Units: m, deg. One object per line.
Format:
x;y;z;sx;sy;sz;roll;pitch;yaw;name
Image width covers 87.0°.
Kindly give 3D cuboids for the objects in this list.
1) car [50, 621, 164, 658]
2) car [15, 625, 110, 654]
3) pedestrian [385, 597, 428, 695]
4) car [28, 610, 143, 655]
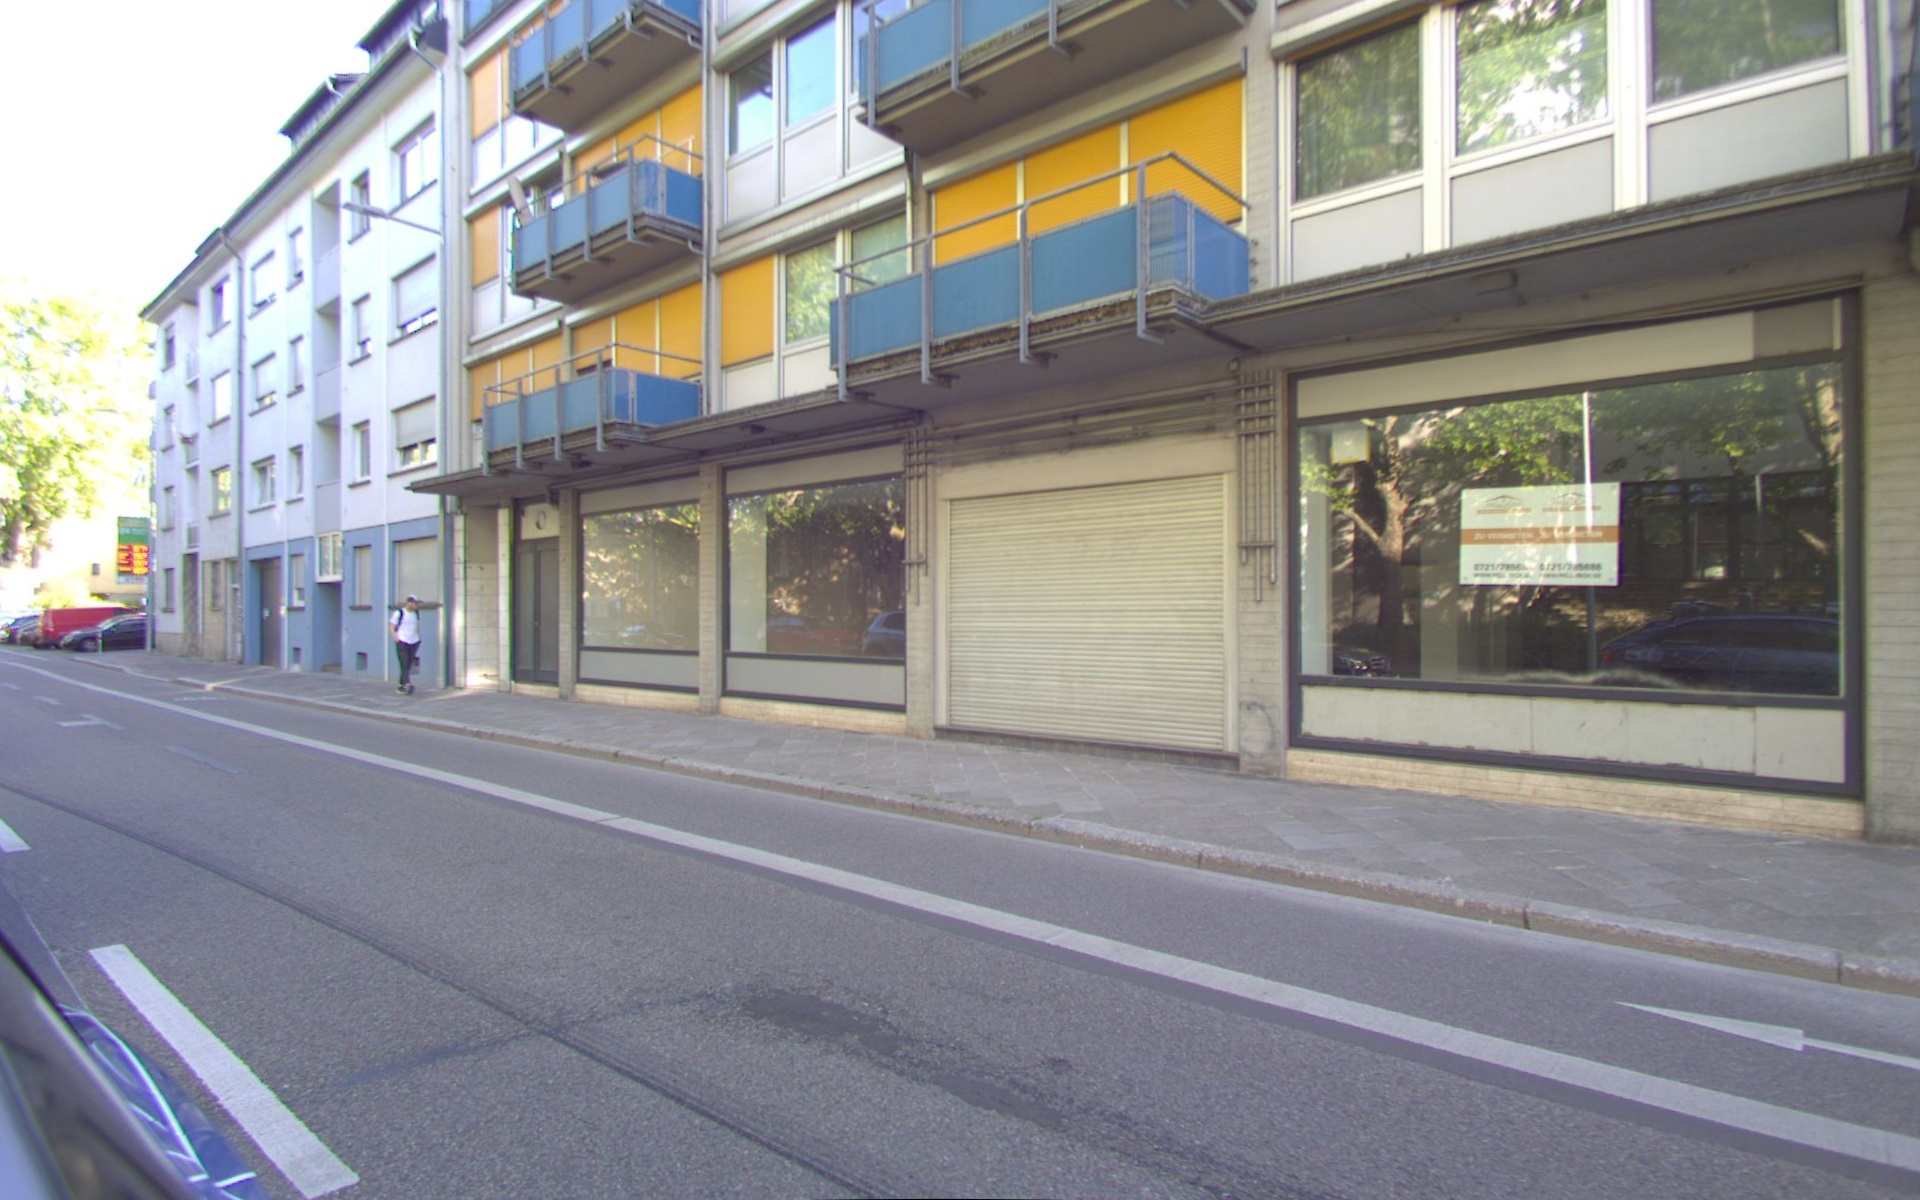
-37.316;1.685;44.331;1.635;1.422;3.623;-1;0;41;car
-43.623;1.901;49.232;1.294;1.258;3.283;-1;0;41;car
-10.042;0.822;18.360;0.343;1.739;0.562;-1;0;41;pedestrian
-41.295;1.490;47.857;1.635;1.937;3.878;-1;0;41;car
